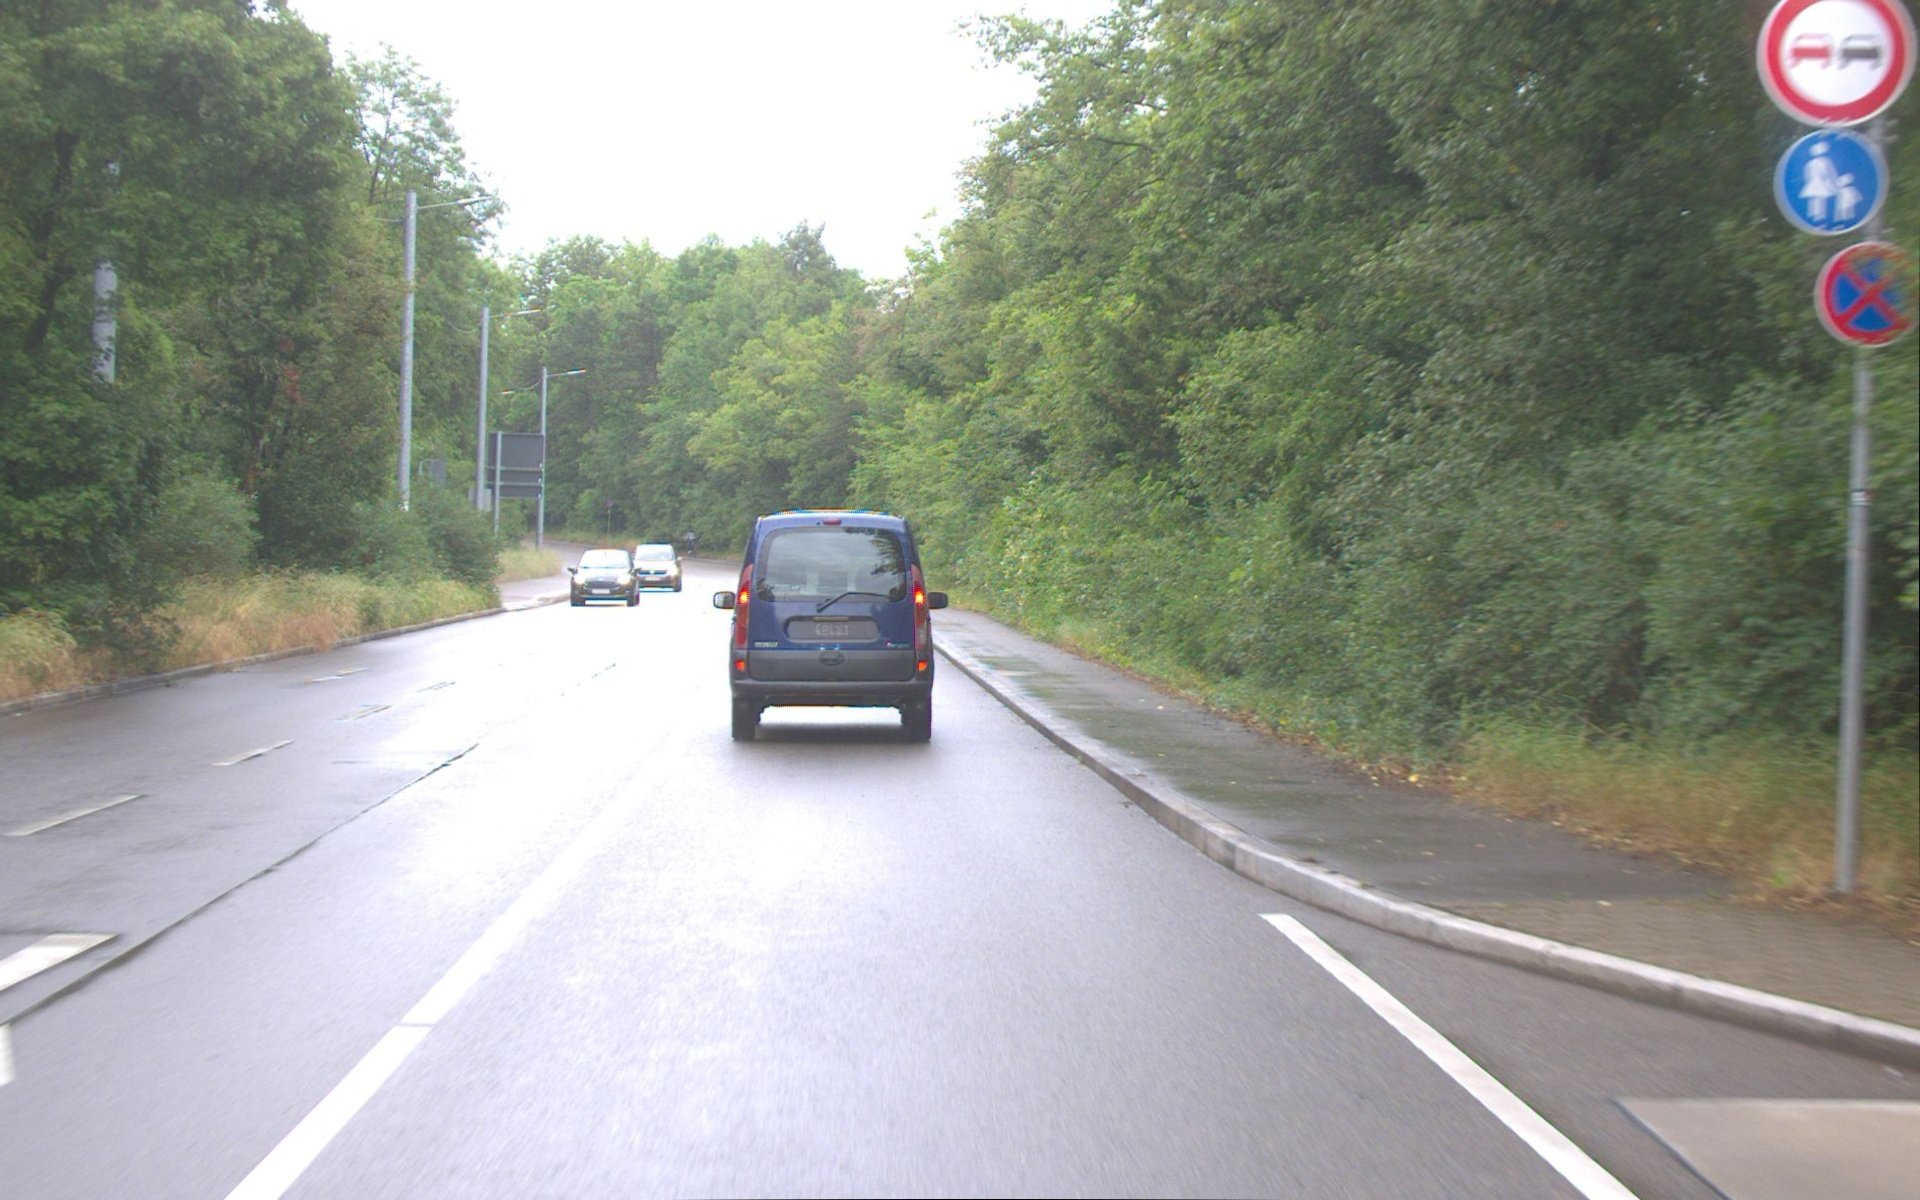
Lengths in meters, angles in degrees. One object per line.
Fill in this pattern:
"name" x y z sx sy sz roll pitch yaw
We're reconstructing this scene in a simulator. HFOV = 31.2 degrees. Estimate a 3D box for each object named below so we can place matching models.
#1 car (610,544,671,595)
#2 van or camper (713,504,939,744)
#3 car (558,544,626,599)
"car" -10.673 -1.037 114.923 1.771 1.605 4.084 1 1 -2
"van or camper" -1.164 0.179 28.774 1.712 1.819 4.000 -2 0 -3
"car" -9.790 -0.768 91.572 1.598 1.436 3.991 0 1 -3
